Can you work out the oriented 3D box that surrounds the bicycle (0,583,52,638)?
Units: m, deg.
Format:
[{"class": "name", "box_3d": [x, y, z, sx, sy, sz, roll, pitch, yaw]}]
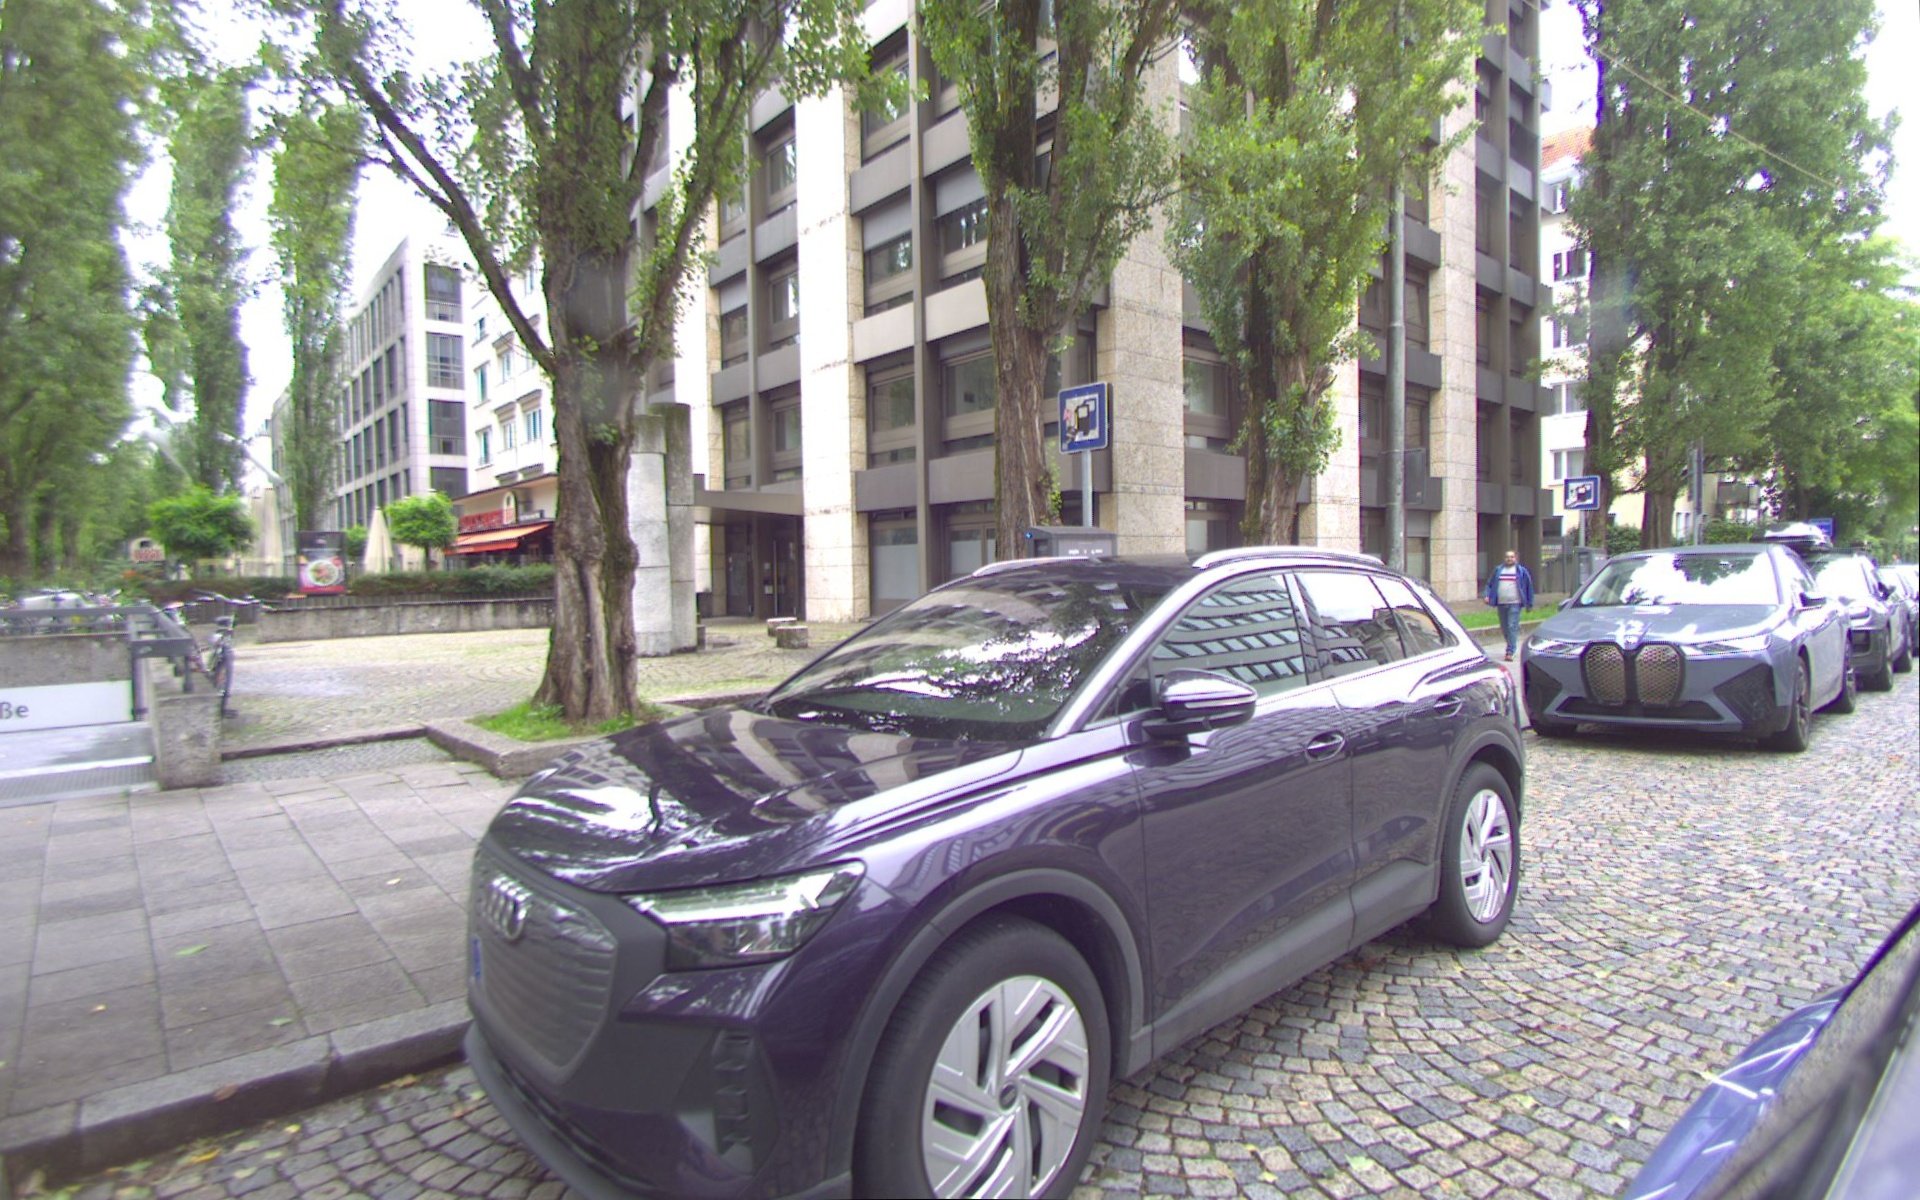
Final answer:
[{"class": "bicycle", "box_3d": [-21.186, 0.244, 22.192, 1.836, 1.174, 0.587, -3, 2, -38]}]

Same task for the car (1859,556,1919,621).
[{"class": "car", "box_3d": [22.728, -0.312, 23.747, 3.808, 1.405, 1.996, -3, 1, -42]}]

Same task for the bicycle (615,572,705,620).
[{"class": "bicycle", "box_3d": [-7.906, -0.131, 26.756, 2.207, 1.170, 0.647, -3, 2, -41]}]

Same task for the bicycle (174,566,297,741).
[{"class": "bicycle", "box_3d": [-6.114, 0.384, 8.497, 0.709, 1.292, 1.867, -2, 2, -39]}]

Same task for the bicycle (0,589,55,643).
[{"class": "bicycle", "box_3d": [-21.579, 0.363, 22.692, 1.836, 1.174, 0.587, -2, 2, -38]}]

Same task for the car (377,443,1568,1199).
[{"class": "car", "box_3d": [0.453, 0.537, 3.689, 4.131, 1.721, 1.923, -3, 2, -42]}]

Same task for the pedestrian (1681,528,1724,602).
[{"class": "pedestrian", "box_3d": [15.957, -0.759, 21.752, 0.697, 1.556, 0.644, -3, 2, -44]}]

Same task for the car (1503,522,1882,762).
[{"class": "car", "box_3d": [7.069, 0.214, 9.553, 4.595, 1.721, 2.015, -3, 2, -42]}]

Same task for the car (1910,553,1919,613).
[{"class": "car", "box_3d": [26.721, -0.520, 26.935, 3.811, 1.517, 1.864, -3, 1, -44]}]

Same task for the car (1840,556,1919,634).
[{"class": "car", "box_3d": [19.143, -0.144, 20.446, 3.502, 1.448, 1.602, -3, 0, -42]}]

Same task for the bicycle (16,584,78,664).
[{"class": "bicycle", "box_3d": [-14.311, 0.343, 15.898, 0.577, 1.174, 1.867, -2, 2, -39]}]

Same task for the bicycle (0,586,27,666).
[{"class": "bicycle", "box_3d": [-14.797, 0.375, 15.503, 0.577, 1.174, 1.867, -2, 2, -39]}]

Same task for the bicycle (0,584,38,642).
[{"class": "bicycle", "box_3d": [-20.220, 0.283, 20.662, 1.996, 1.174, 0.587, -3, 2, -38]}]

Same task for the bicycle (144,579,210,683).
[{"class": "bicycle", "box_3d": [-9.725, 0.344, 12.551, 0.577, 1.174, 1.867, -2, 2, -39]}]

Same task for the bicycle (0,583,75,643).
[{"class": "bicycle", "box_3d": [-19.339, 0.265, 20.658, 1.836, 1.174, 0.587, -3, 2, -38]}]

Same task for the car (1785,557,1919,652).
[{"class": "car", "box_3d": [15.731, 0.020, 17.410, 4.134, 1.407, 1.721, -3, 0, -42]}]

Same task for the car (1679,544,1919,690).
[{"class": "car", "box_3d": [11.186, 0.107, 13.282, 4.269, 1.602, 1.996, -3, 2, -42]}]

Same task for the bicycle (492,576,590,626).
[{"class": "bicycle", "box_3d": [-10.729, 0.006, 25.965, 2.207, 1.170, 0.647, -3, 2, -41]}]

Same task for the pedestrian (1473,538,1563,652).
[{"class": "pedestrian", "box_3d": [8.788, -0.098, 15.953, 0.893, 1.735, 0.871, -2, 2, -21]}]

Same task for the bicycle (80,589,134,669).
[{"class": "bicycle", "box_3d": [-13.612, 0.429, 16.183, 0.577, 1.174, 1.867, -2, 2, -39]}]
